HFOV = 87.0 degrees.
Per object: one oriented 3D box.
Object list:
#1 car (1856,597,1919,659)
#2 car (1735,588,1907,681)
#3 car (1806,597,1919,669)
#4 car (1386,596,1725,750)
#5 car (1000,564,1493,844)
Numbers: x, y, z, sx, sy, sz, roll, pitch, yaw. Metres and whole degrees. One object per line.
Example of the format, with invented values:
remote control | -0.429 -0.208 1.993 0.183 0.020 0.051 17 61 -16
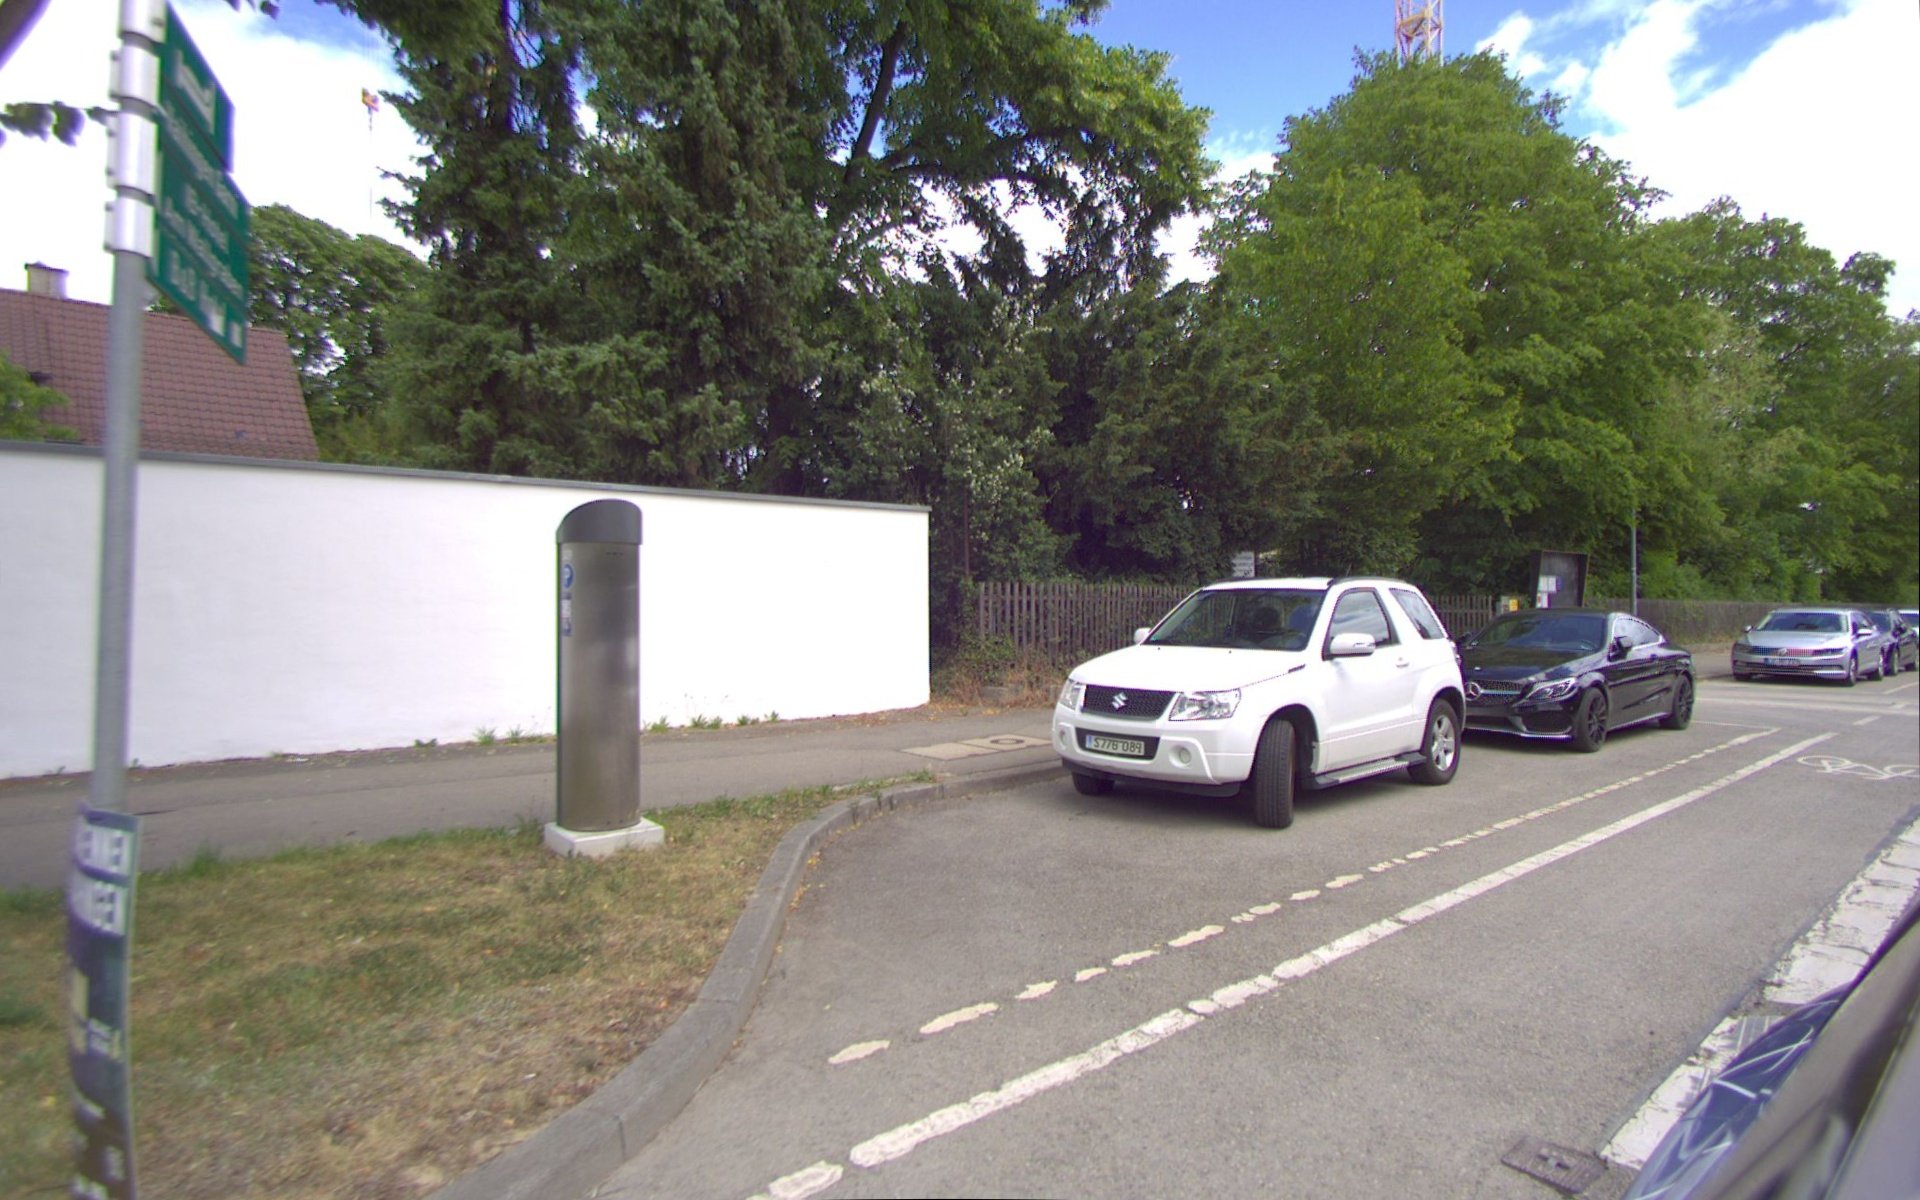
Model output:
car | 25.592 0.696 27.070 3.958 1.529 1.772 -1 0 -39
car | 17.288 0.612 20.238 4.604 1.631 1.865 -1 -1 -40
car | 21.376 0.724 23.580 4.455 1.530 1.705 1 -1 -39
car | 6.927 0.687 11.572 4.518 1.435 1.868 0 0 -39
car | 2.431 0.589 8.065 4.045 1.663 1.904 -1 1 -41
